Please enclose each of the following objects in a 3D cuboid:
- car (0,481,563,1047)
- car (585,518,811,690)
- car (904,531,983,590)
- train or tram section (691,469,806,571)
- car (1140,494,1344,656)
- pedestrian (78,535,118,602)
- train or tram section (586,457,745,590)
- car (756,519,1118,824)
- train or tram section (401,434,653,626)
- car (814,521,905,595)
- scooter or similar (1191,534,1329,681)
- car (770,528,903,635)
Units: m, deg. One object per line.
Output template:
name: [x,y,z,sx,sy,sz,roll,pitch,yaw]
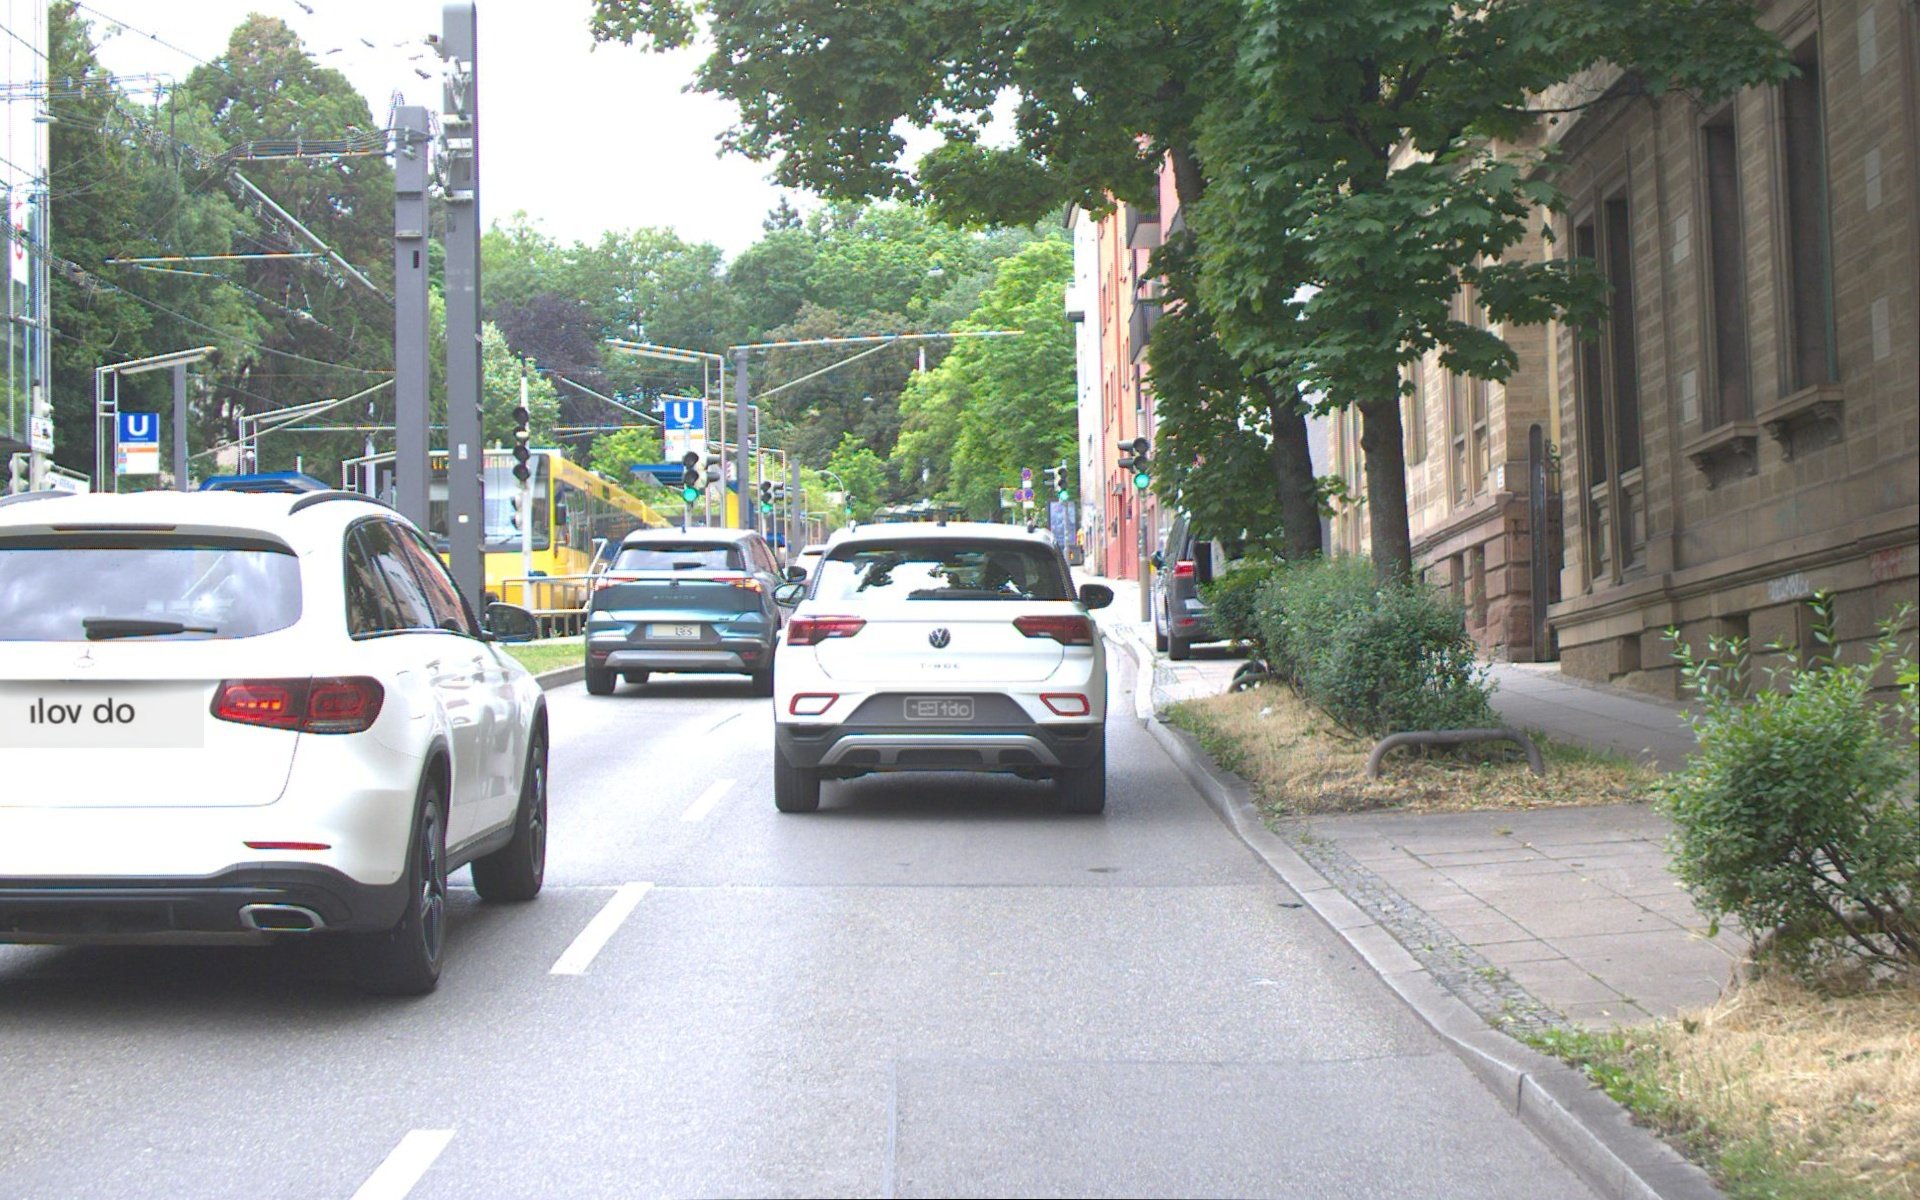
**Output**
car: [-2.607,0.434,12.453,1.835,1.661,4.671,0,1,-1]
car: [-2.457,-0.008,33.110,1.835,1.541,4.194,0,1,0]
car: [-0.431,-1.092,93.005,2.068,1.541,4.194,0,1,0]
train or tram section: [-7.350,-2.796,121.108,2.996,3.337,13.439,-1,1,1]
car: [3.038,-0.301,37.817,1.835,1.596,4.194,-3,1,0]
pedestrian: [-22.820,-0.834,91.015,0.809,1.749,0.816,-1,1,1]
train or tram section: [-7.905,-2.078,94.150,2.996,3.337,13.439,-1,1,1]
car: [-0.160,0.321,19.602,1.835,1.541,4.194,0,1,-1]
train or tram section: [-8.212,-1.364,67.110,2.996,3.337,13.439,-1,1,1]
car: [-2.154,-0.926,74.774,1.835,1.541,4.194,0,1,0]
scooter or similar: [2.374,0.056,27.195,1.037,1.115,0.331,-2,1,7]
car: [-1.814,-0.309,51.697,1.835,1.541,4.194,0,1,0]
